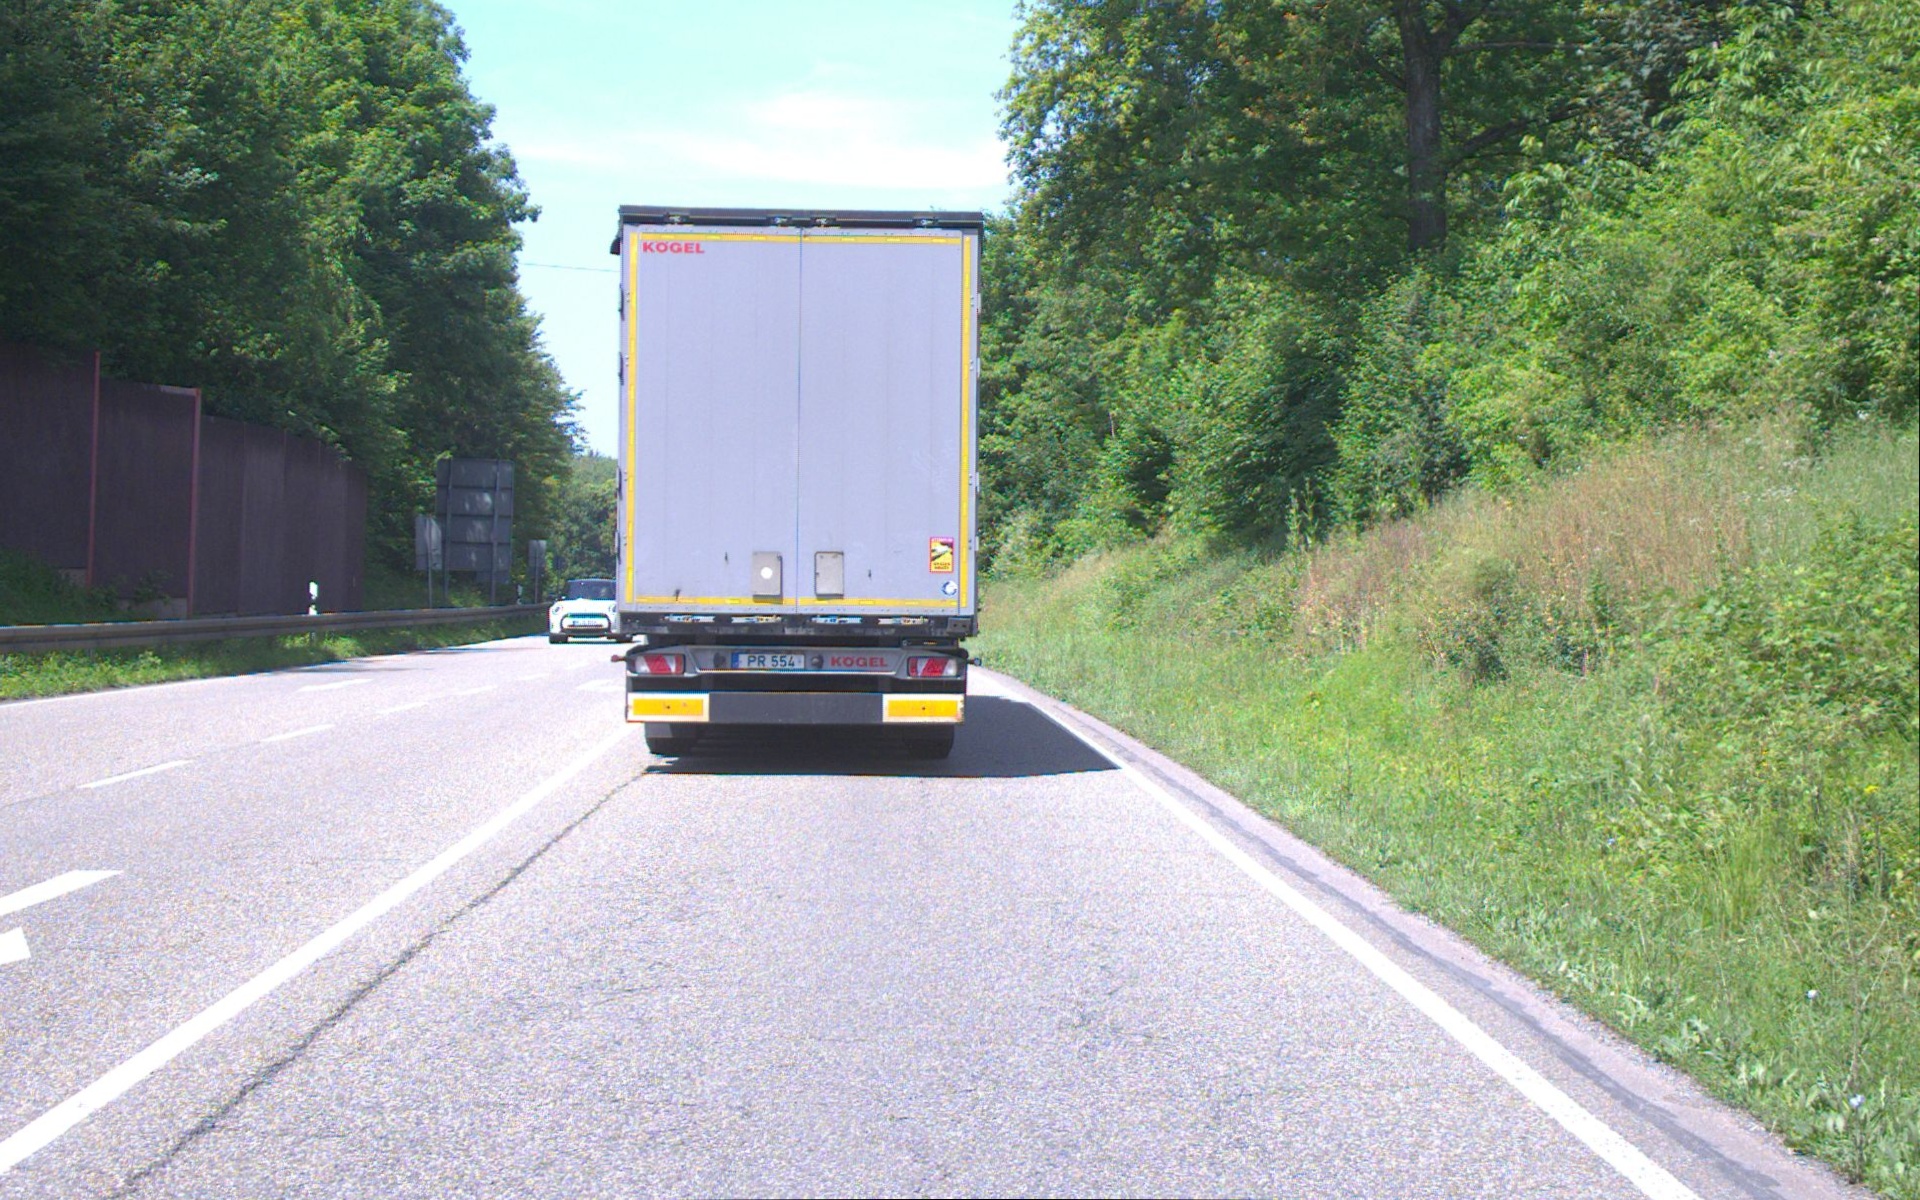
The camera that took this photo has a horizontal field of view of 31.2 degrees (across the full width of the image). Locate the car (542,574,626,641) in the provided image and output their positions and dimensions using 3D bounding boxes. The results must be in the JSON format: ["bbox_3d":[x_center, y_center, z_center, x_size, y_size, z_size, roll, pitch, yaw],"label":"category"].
[{"bbox_3d":[-8.473,0.152,77.732,1.806,1.430,3.872,0,1,-5],"label":"car"}]

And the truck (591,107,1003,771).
[{"bbox_3d":[-1.191,-1.196,27.296,2.822,4.588,6.666,1,1,-1],"label":"truck"}]
